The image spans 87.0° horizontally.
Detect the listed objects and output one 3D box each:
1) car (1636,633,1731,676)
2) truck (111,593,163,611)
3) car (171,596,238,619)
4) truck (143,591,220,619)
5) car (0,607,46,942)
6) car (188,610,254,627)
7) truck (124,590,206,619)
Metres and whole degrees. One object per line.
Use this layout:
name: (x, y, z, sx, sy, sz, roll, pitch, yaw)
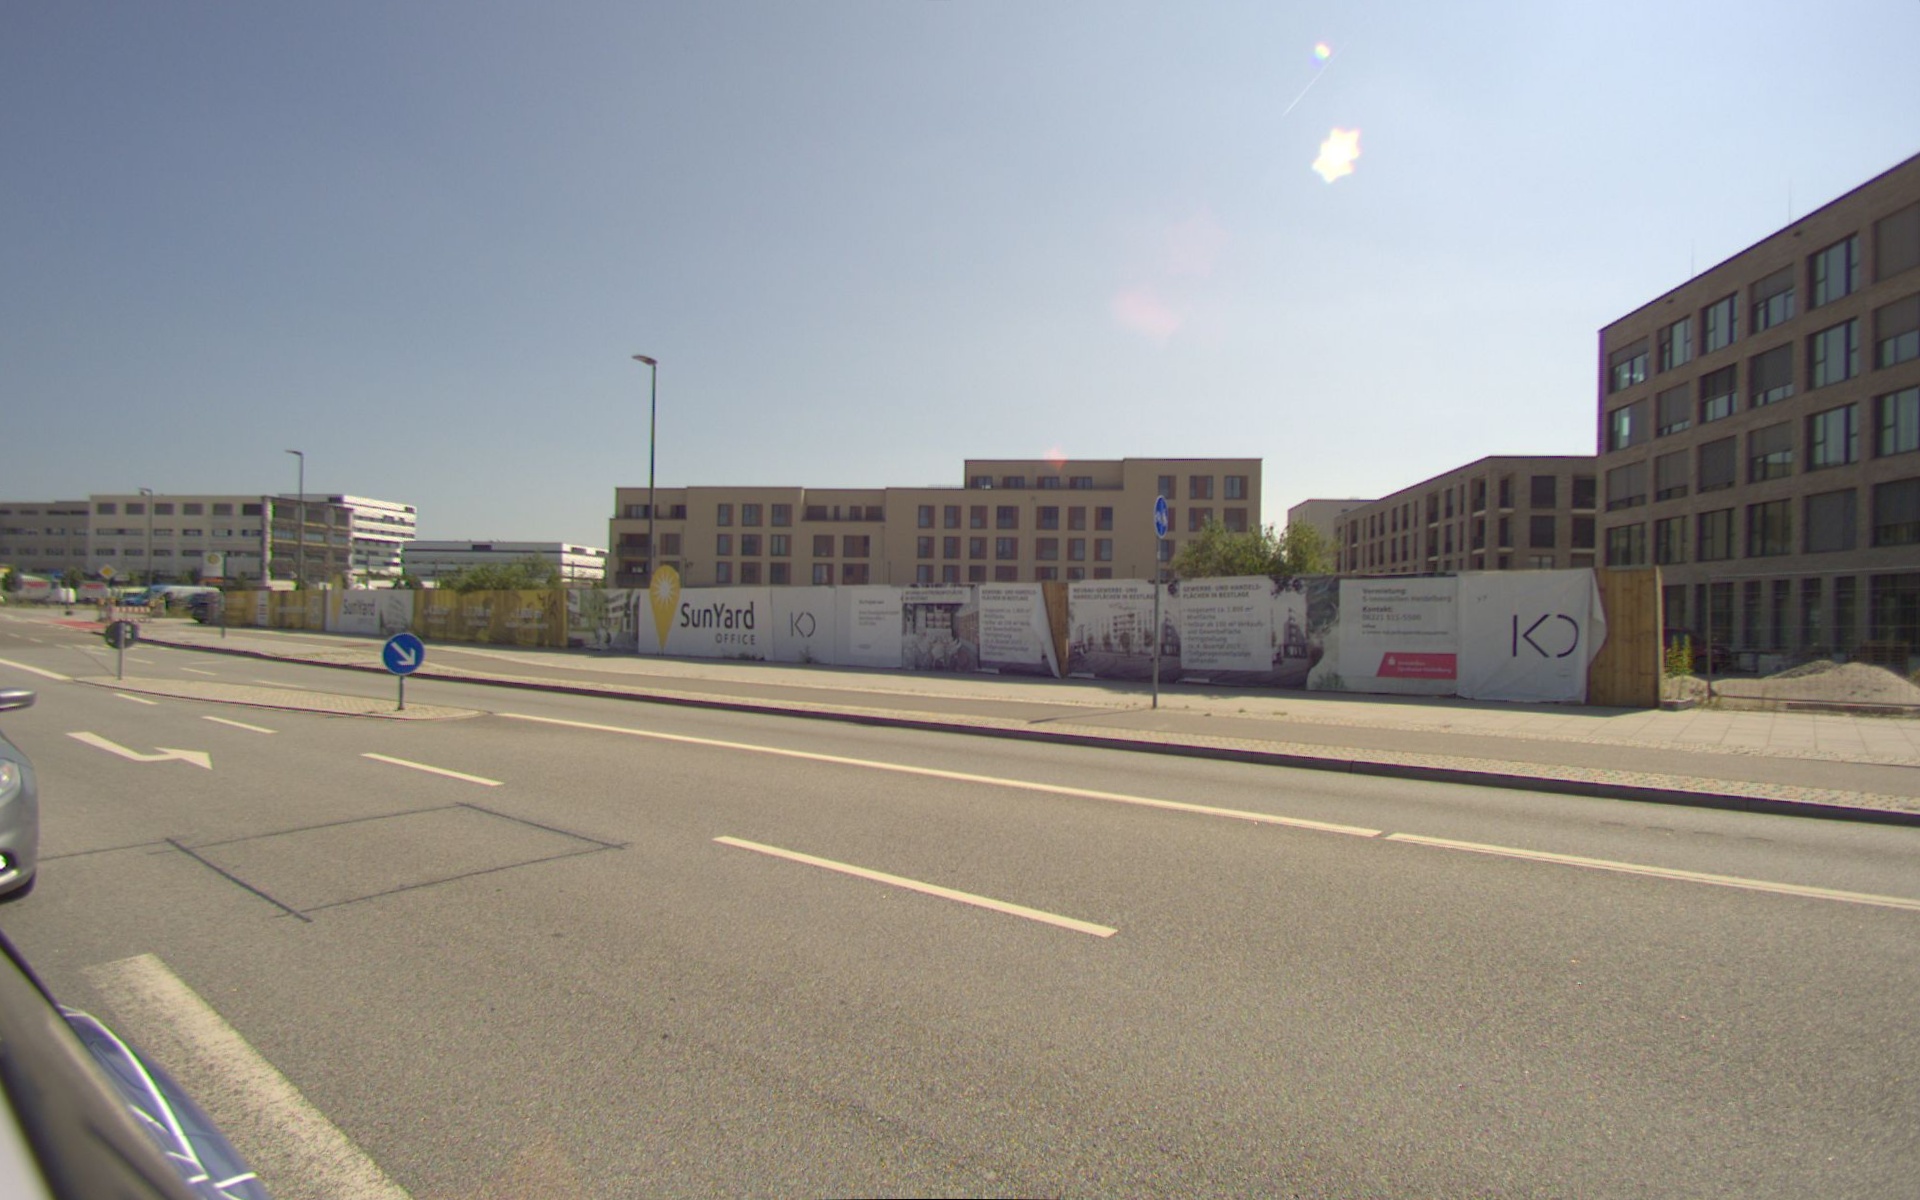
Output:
car: (32.030, 2.389, 44.952, 1.814, 1.666, 3.772, 0, 0, 7)
truck: (-114.888, 0.277, 141.367, 1.996, 2.494, 5.270, 0, 1, 36)
car: (-60.327, 0.588, 80.842, 1.888, 1.731, 3.885, 0, 1, 35)
truck: (-67.108, 0.409, 87.307, 1.998, 2.245, 4.942, 0, 1, 39)
car: (-6.364, 0.782, 5.344, 4.345, 1.478, 1.796, -1, -1, 41)
car: (-48.362, 1.198, 66.246, 1.293, 0.960, 3.315, 0, 1, 43)
truck: (-72.492, 0.370, 92.410, 1.996, 2.494, 5.567, 0, 1, 36)
